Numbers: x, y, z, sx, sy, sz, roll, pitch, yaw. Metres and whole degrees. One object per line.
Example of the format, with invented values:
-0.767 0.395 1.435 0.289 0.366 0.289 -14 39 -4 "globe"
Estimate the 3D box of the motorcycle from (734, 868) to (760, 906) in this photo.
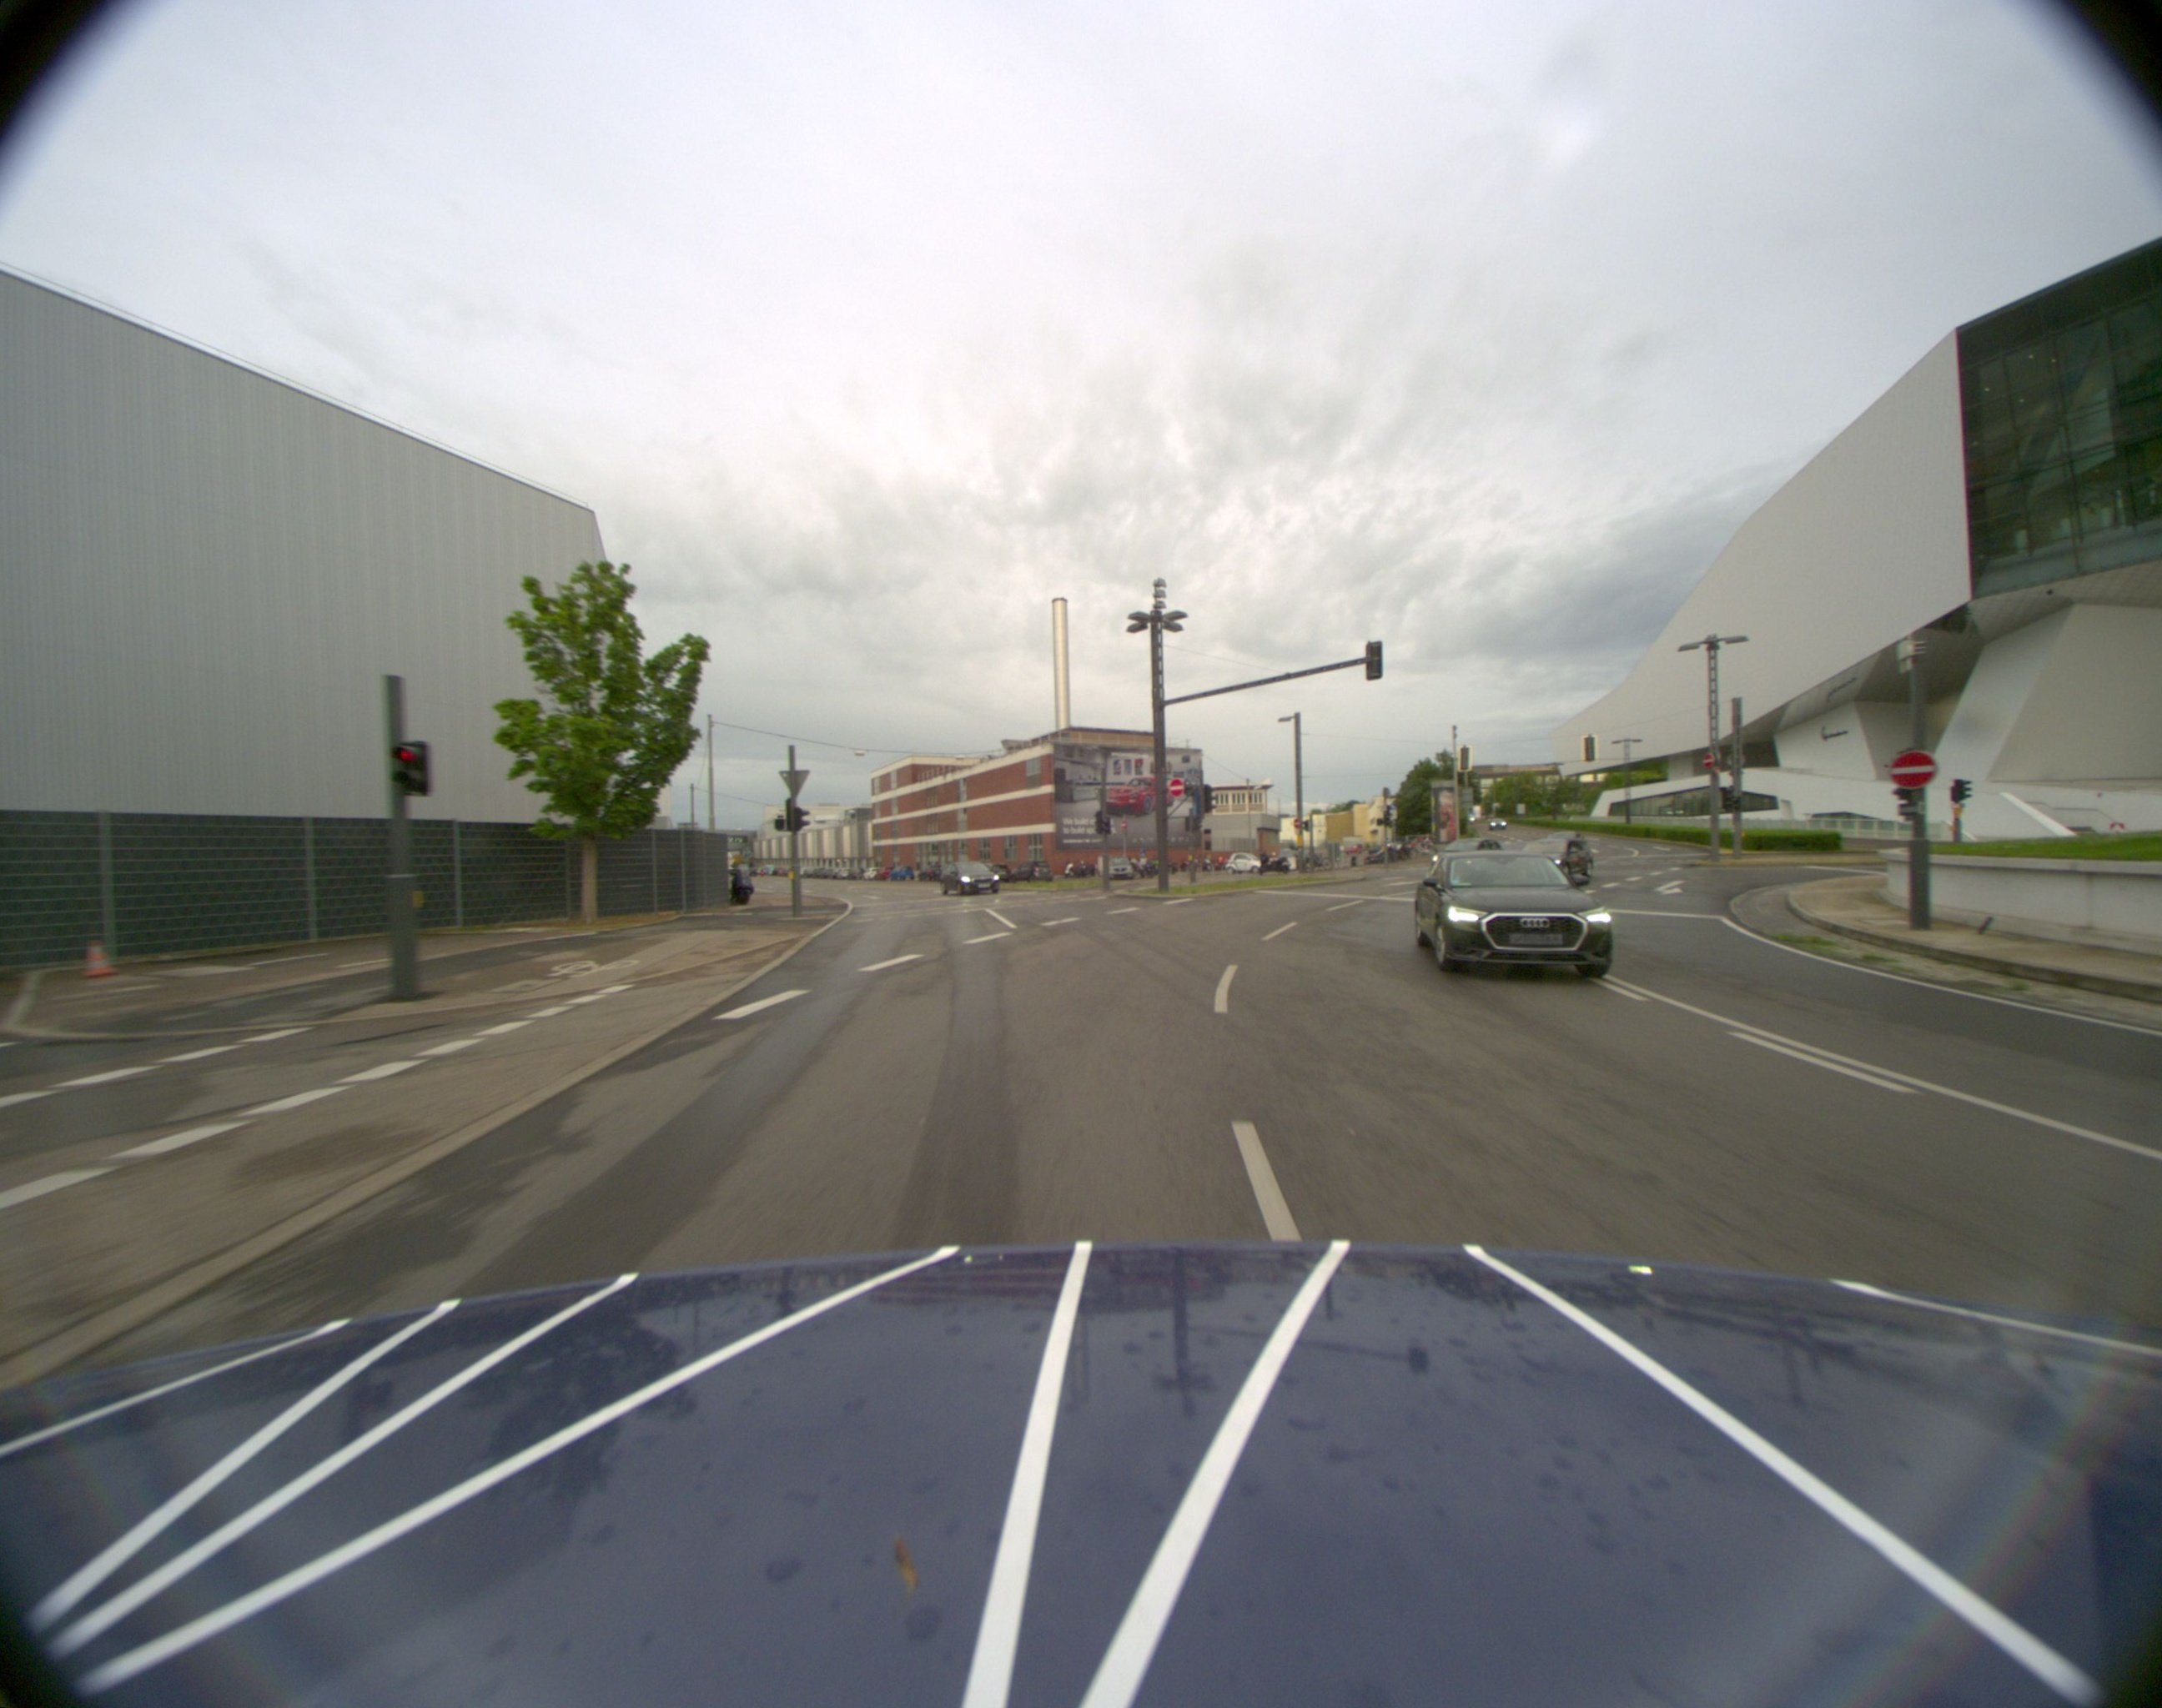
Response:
-12.141 1.187 27.551 0.656 1.303 2.096 -3 0 -28 "motorcycle"

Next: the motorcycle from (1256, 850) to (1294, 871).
11.169 0.406 43.768 0.489 1.139 2.089 -7 3 -44 "motorcycle"

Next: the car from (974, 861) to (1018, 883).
-6.324 1.324 56.253 1.570 1.435 4.096 -6 2 -30 "car"

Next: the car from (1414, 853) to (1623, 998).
5.750 0.774 10.548 1.754 1.509 4.400 0 1 20 "car"

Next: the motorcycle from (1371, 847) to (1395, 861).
23.250 0.003 58.476 1.614 0.917 0.422 -4 2 12 "motorcycle"

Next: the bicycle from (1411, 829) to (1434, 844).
25.536 -1.309 56.832 1.541 1.149 0.451 0 5 20 "bicycle"

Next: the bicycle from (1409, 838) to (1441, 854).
21.518 -0.504 47.561 1.741 0.956 0.422 -2 3 33 "bicycle"

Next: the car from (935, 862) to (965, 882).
-11.032 1.494 63.855 1.461 1.435 3.457 -5 2 -26 "car"

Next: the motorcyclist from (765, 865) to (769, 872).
-64.255 2.945 155.506 0.736 1.366 1.017 -5 3 -26 "motorcyclist"

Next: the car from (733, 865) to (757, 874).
-64.961 2.953 146.783 4.006 1.550 1.611 -3 1 -32 "car"

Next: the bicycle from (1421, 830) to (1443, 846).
25.413 -1.176 55.035 1.462 1.068 0.443 -2 4 -6 "bicycle"

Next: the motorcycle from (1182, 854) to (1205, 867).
8.654 0.497 58.454 1.612 0.968 0.542 -3 3 41 "motorcycle"

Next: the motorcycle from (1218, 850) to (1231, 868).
11.557 0.371 61.302 0.523 1.326 1.671 -3 2 25 "motorcycle"

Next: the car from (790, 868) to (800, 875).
-52.278 3.191 138.859 1.461 1.234 3.364 -5 2 -26 "car"

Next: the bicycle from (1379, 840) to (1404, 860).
18.333 -0.238 44.891 1.747 1.078 0.347 -5 3 -31 "bicycle"

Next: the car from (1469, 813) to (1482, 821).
77.735 -7.317 149.779 1.814 1.430 4.308 -1 1 20 "car"

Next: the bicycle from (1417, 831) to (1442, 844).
25.661 -1.203 55.892 1.704 0.917 0.485 -3 3 -11 "bicycle"

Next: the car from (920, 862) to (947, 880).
-13.344 1.505 68.547 1.461 1.435 3.382 -5 2 -26 "car"

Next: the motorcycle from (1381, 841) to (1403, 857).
19.395 -0.321 47.340 1.747 0.890 0.546 -6 4 -42 "motorcycle"

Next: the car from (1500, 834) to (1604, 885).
16.608 0.167 26.692 4.308 1.430 1.813 -6 3 -40 "car"

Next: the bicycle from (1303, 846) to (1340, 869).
13.361 0.187 42.233 2.075 1.124 0.421 -5 3 -18 "bicycle"

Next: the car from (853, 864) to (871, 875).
-27.640 1.910 95.816 1.461 1.234 3.364 -5 2 -26 "car"

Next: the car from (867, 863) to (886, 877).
-23.592 1.809 87.626 1.461 1.368 3.382 -5 2 -26 "car"

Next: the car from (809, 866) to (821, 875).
-43.619 2.662 124.525 1.461 1.234 3.364 -5 2 -26 "car"

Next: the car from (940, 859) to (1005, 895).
-4.868 0.992 33.642 1.722 1.417 3.992 -3 1 -25 "car"

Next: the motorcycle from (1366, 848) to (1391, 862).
21.976 0.077 56.101 1.613 0.917 0.482 -4 2 18 "motorcycle"

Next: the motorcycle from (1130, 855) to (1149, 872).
4.211 0.655 55.128 0.545 1.174 1.709 -5 2 -25 "motorcycle"

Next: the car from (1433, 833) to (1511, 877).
16.087 0.017 31.191 1.690 1.499 4.017 -2 3 44 "car"

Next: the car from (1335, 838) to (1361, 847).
46.542 -2.052 132.595 3.994 1.417 1.722 -3 1 11 "car"

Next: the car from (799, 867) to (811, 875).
-47.123 2.847 129.822 1.461 1.234 3.364 -5 2 -26 "car"

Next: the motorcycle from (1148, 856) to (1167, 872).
5.594 0.758 55.676 0.477 1.113 1.806 -5 2 -23 "motorcycle"

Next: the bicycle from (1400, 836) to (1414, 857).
20.132 -0.491 46.874 0.399 1.169 2.018 -1 3 34 "bicycle"

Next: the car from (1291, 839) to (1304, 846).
47.125 -2.414 165.623 1.719 1.417 4.000 -3 1 1 "car"

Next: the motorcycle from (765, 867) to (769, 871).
-64.214 3.074 155.449 0.566 0.666 2.222 -5 2 -26 "motorcycle"

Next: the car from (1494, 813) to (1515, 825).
58.428 -4.795 104.831 1.814 1.430 4.308 -1 1 20 "car"

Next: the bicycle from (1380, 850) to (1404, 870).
18.679 0.351 45.610 1.747 1.078 0.347 -5 3 -31 "bicycle"

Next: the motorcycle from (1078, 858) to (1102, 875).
0.644 0.877 54.292 1.603 1.114 0.543 -5 3 -21 "motorcycle"

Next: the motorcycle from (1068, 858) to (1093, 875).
-0.027 0.917 55.205 1.649 1.105 0.543 -5 3 -21 "motorcycle"

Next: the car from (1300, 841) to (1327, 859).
24.008 -0.416 78.331 1.780 1.657 4.512 -2 1 28 "car"

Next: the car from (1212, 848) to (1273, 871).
11.733 0.403 55.405 3.989 1.480 1.571 -2 1 34 "car"

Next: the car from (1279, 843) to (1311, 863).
18.502 -0.133 65.564 1.885 1.542 4.514 -3 1 25 "car"

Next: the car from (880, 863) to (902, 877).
-20.669 1.724 82.552 1.461 1.435 3.382 -5 2 -26 "car"

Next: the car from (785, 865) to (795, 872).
-58.305 2.971 152.065 1.461 1.234 3.364 -5 2 -26 "car"

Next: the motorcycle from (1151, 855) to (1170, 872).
5.918 0.670 56.736 0.545 1.231 1.803 -3 1 -25 "motorcycle"

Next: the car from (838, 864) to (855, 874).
-31.300 1.997 101.376 1.461 1.234 3.364 -5 2 -26 "car"

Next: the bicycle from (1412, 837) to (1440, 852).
22.669 -0.638 49.976 1.612 0.916 0.422 -1 2 37 "bicycle"

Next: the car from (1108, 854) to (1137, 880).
2.667 0.807 49.205 1.624 1.495 3.247 -3 1 0 "car"

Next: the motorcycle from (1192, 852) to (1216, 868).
9.602 0.474 59.416 1.716 1.146 0.586 -3 3 41 "motorcycle"

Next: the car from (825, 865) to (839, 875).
-36.458 2.316 111.123 1.461 1.234 3.364 -5 2 -26 "car"

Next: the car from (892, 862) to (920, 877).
-17.948 1.575 77.851 1.699 1.435 3.380 -6 2 -33 "car"

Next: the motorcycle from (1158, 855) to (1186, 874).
6.181 0.725 51.715 1.867 1.105 0.543 -5 3 -29 "motorcycle"

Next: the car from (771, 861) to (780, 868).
-67.592 2.298 168.004 1.461 1.234 3.364 -5 2 -26 "car"

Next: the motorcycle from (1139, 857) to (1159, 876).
4.393 0.798 49.222 0.495 1.140 1.720 -5 2 -19 "motorcycle"

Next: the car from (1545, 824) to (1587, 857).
25.847 -0.758 40.572 1.745 1.466 4.075 -3 2 32 "car"

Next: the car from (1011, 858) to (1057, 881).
-3.217 1.032 51.668 2.744 1.484 1.557 -3 -1 41 "car"

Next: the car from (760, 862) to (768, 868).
-74.256 2.578 178.044 1.461 1.234 3.364 -5 2 -26 "car"

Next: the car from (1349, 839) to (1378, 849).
44.376 -1.553 119.356 3.994 1.417 1.722 -3 1 11 "car"
